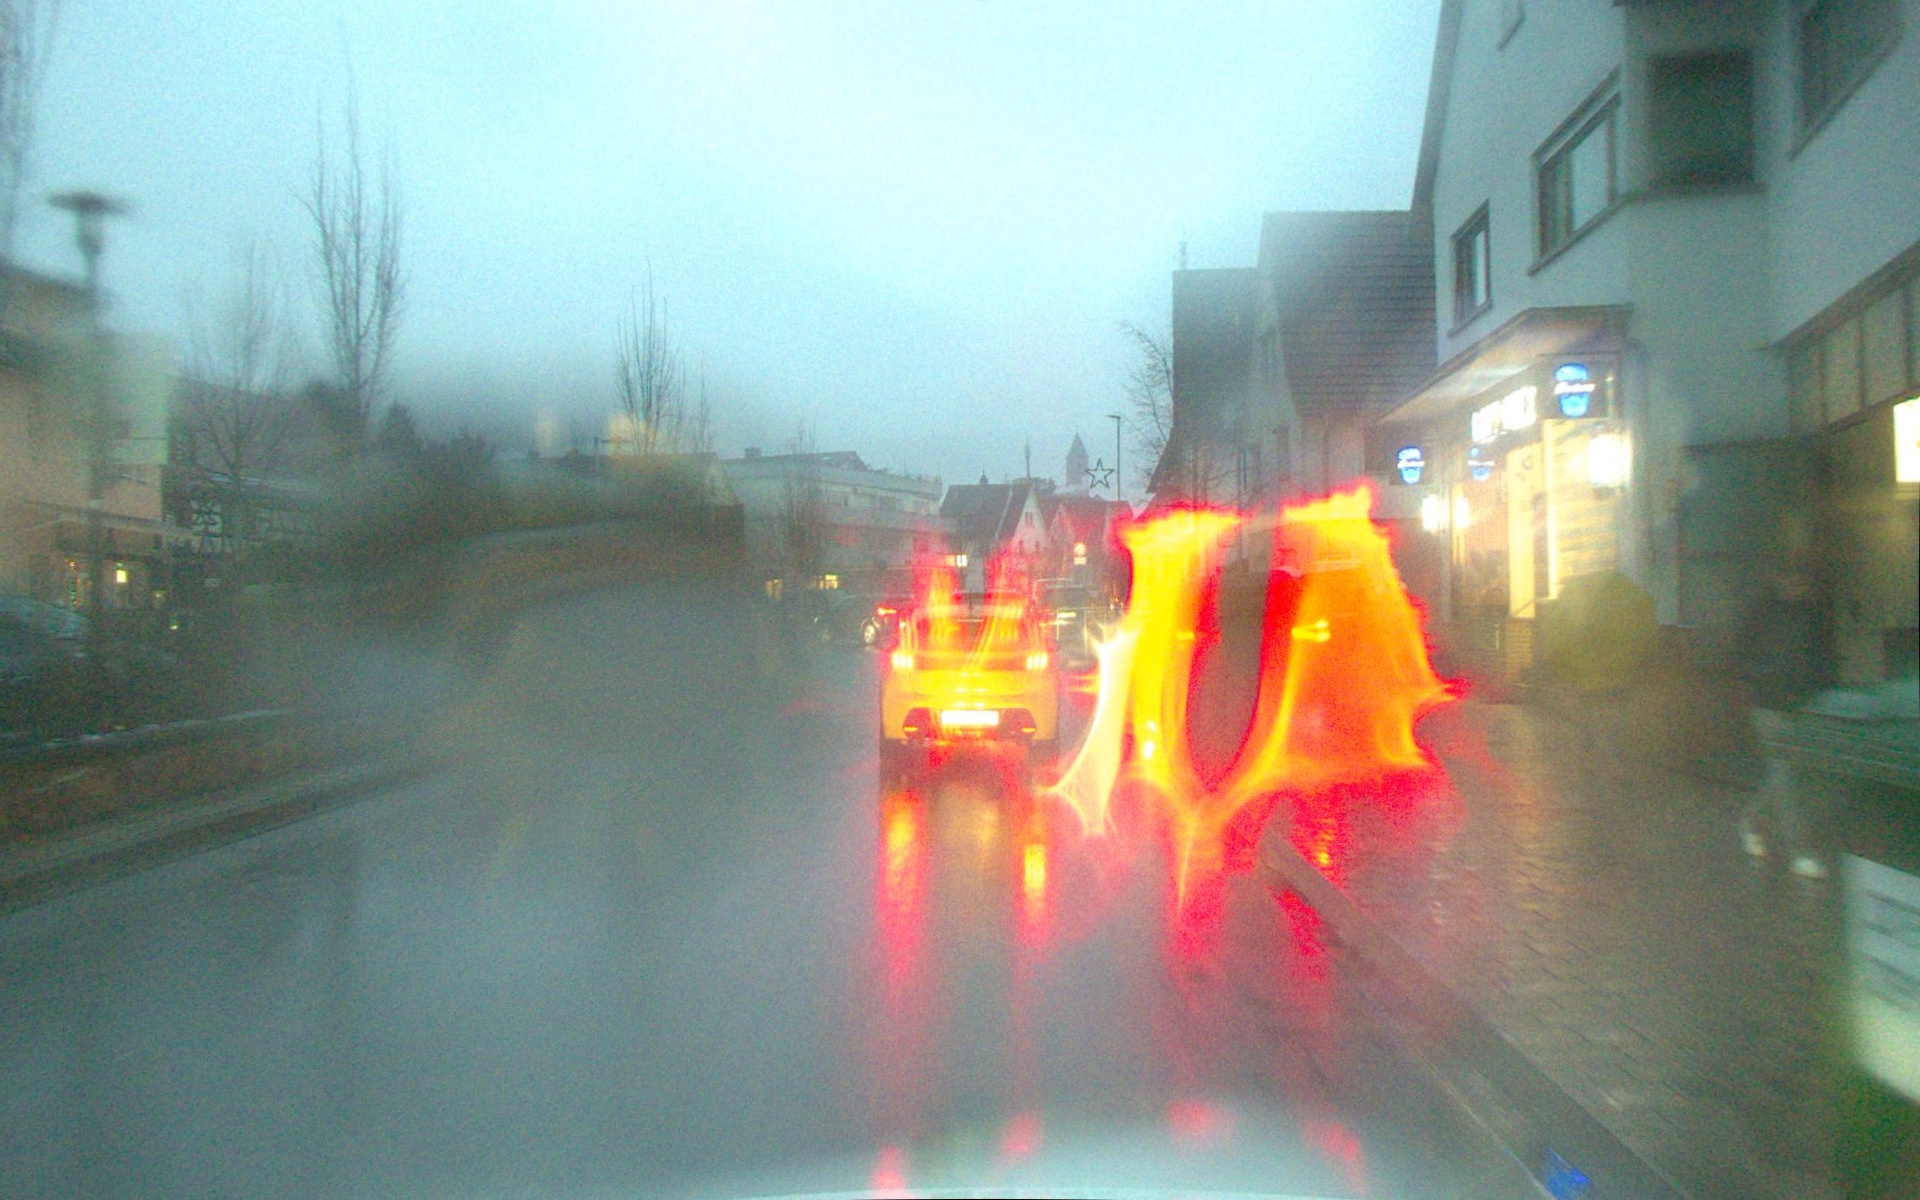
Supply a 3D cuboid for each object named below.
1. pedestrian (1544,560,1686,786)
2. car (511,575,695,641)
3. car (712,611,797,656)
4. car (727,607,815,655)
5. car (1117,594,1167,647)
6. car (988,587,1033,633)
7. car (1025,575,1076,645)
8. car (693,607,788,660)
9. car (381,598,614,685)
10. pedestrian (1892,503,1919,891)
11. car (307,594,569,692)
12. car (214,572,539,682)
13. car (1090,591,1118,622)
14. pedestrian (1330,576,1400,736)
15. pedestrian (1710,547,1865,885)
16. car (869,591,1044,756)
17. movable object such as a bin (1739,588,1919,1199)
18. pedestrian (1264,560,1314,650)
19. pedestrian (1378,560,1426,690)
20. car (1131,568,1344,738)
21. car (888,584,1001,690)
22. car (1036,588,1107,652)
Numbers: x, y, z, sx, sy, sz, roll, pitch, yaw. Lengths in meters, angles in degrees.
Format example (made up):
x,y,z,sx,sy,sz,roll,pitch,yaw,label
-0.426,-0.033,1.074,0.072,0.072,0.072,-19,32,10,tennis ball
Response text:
x,y,z,sx,sy,sz,roll,pitch,yaw,label
4.993,0.525,12.643,0.607,1.655,0.903,0,1,-13,pedestrian
-10.970,0.235,50.935,5.281,1.849,1.713,2,-1,14,car
-9.717,1.586,78.096,4.099,2.011,1.809,-1,-3,45,car
-9.251,1.535,80.630,4.312,2.205,1.986,-1,-3,45,car
8.328,0.966,75.946,1.952,2.288,4.000,1,-2,2,car
2.297,0.488,76.358,1.953,2.049,3.999,0,-1,0,car
3.430,0.432,63.509,1.831,2.512,4.444,1,-2,2,car
-9.947,1.549,74.774,4.312,2.291,1.986,-1,-3,45,car
-9.055,0.799,32.530,4.079,1.673,1.659,0,-1,5,car
4.586,0.435,7.130,0.697,1.745,1.035,-2,0,14,pedestrian
-9.280,0.748,29.590,4.109,1.681,1.680,0,-1,5,car
-9.341,0.435,26.792,4.532,1.697,1.999,0,-1,-2,car
8.295,0.373,95.550,1.428,1.650,3.294,1,-2,2,car
4.519,0.616,18.479,0.561,1.729,0.653,-2,-1,2,pedestrian
4.309,0.567,8.665,0.469,1.659,1.019,-2,0,14,pedestrian
-0.014,0.657,16.208,1.531,1.437,3.018,1,0,0,car
2.242,0.694,2.841,1.105,1.445,1.418,-3,0,2,movable object such as a bin
5.729,0.079,28.825,0.607,1.542,0.732,0,1,-13,pedestrian
6.060,0.347,22.703,0.605,1.757,0.502,0,-3,12,pedestrian
3.076,0.559,19.172,1.700,1.722,4.386,-1,0,0,car
-0.199,0.594,28.371,1.729,1.657,3.587,1,0,2,car
3.405,0.627,51.099,1.956,1.897,4.083,0,-1,1,car
